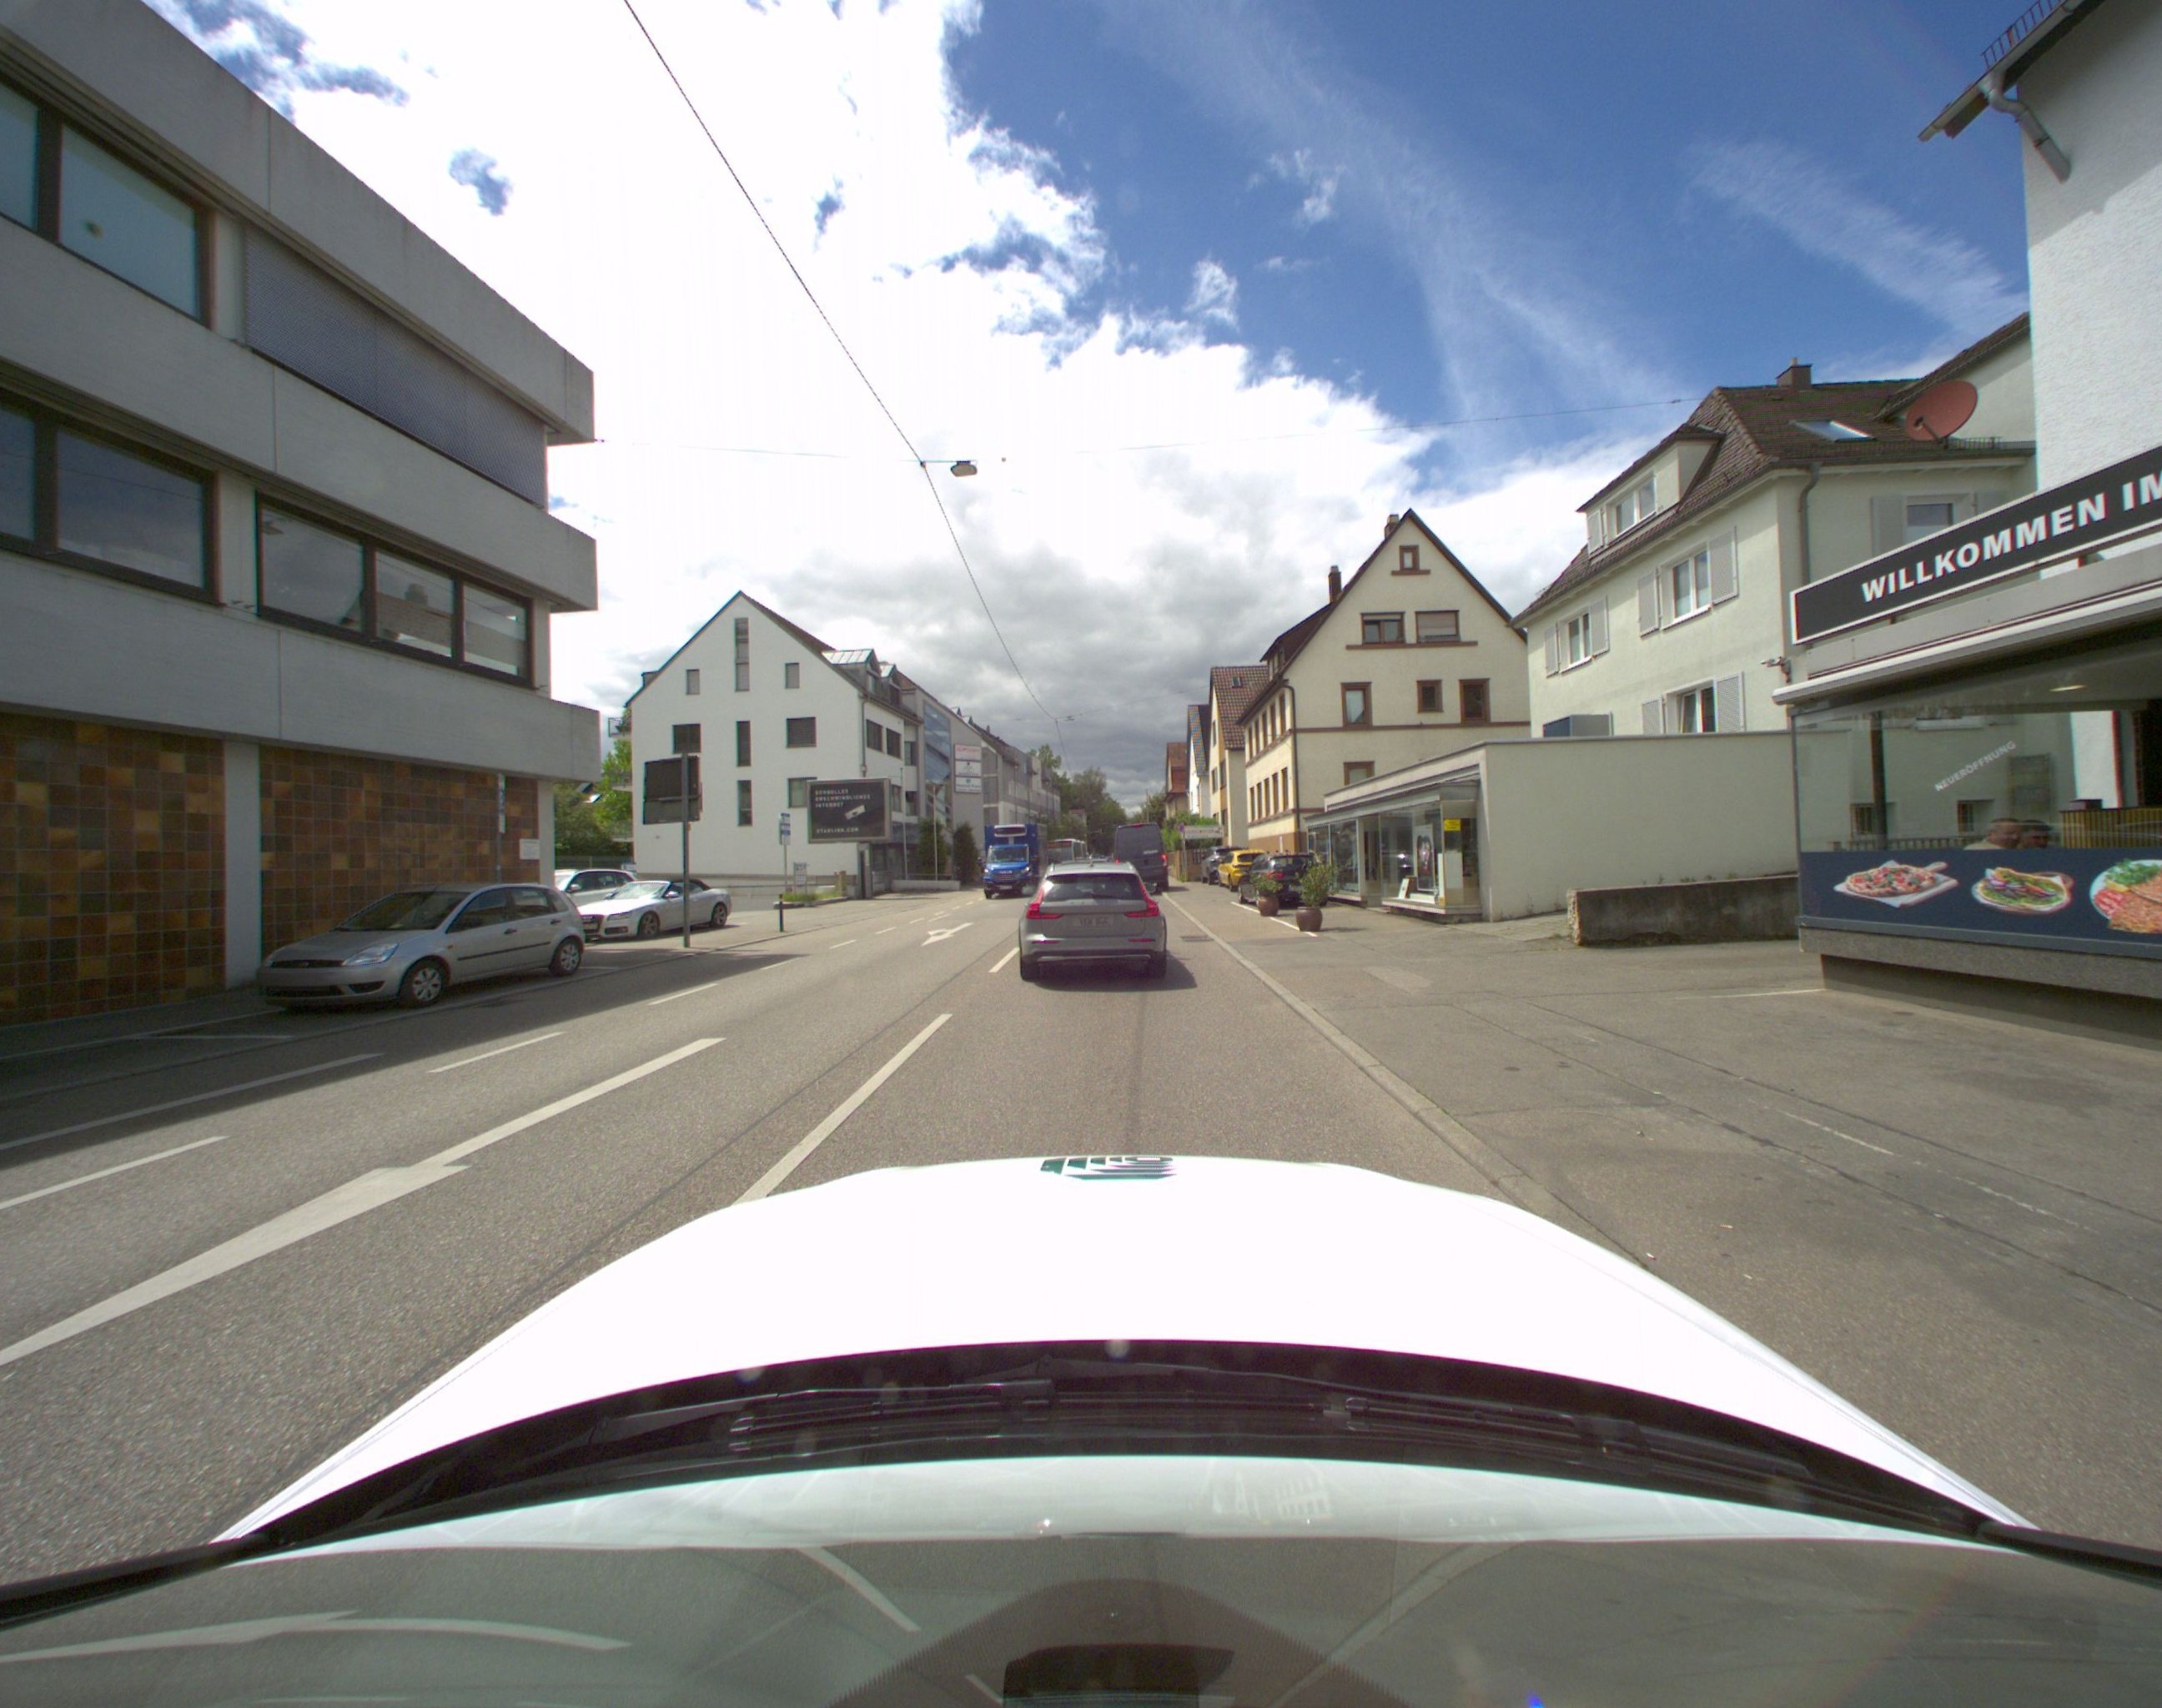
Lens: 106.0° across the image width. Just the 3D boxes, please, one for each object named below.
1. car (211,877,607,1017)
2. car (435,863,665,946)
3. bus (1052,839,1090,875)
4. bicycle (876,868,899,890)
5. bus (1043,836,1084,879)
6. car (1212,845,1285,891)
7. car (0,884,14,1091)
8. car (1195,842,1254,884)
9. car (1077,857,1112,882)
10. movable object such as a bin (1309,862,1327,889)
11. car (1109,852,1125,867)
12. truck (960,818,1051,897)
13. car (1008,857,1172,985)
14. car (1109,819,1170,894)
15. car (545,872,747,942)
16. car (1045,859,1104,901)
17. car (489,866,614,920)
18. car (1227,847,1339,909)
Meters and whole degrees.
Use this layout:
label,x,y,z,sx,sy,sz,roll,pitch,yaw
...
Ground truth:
label,x,y,z,sx,sy,sz,roll,pitch,yaw
car,-8.662,1.088,11.085,1.714,1.422,4.153,-1,0,5
car,-13.074,1.155,20.545,1.940,1.619,4.942,-4,0,9
bus,-0.823,0.278,76.038,2.703,3.163,8.078,-2,0,5
bicycle,-10.554,1.344,44.479,0.627,1.095,2.005,-2,0,4
bus,-1.315,0.274,66.891,2.672,3.163,10.188,-2,0,2
car,6.258,0.466,30.909,1.871,1.447,4.308,-2,2,1
car,-9.144,1.017,4.753,1.728,1.556,3.061,-1,0,6
car,6.218,0.363,35.705,1.853,1.612,4.588,-3,0,2
car,0.864,0.900,49.589,1.888,1.446,3.973,-1,0,4
movable object such as a bin,8.369,0.759,28.792,0.498,0.925,0.599,-2,-1,6
car,5.018,0.732,113.235,1.984,2.013,4.005,-1,0,4
truck,-3.197,0.161,36.873,2.842,3.093,8.095,-2,0,3
car,0.250,0.786,11.438,1.888,1.453,3.973,-1,0,4
car,2.458,0.104,34.118,2.243,2.795,5.575,-2,0,4
car,-10.475,1.213,20.152,1.941,1.358,4.864,-2,0,6
car,-0.163,0.936,31.018,1.888,1.446,3.973,-1,0,4
car,-22.110,1.557,34.259,1.828,1.989,4.656,-2,0,6
car,5.409,0.591,22.417,1.961,1.447,4.535,-2,0,1
